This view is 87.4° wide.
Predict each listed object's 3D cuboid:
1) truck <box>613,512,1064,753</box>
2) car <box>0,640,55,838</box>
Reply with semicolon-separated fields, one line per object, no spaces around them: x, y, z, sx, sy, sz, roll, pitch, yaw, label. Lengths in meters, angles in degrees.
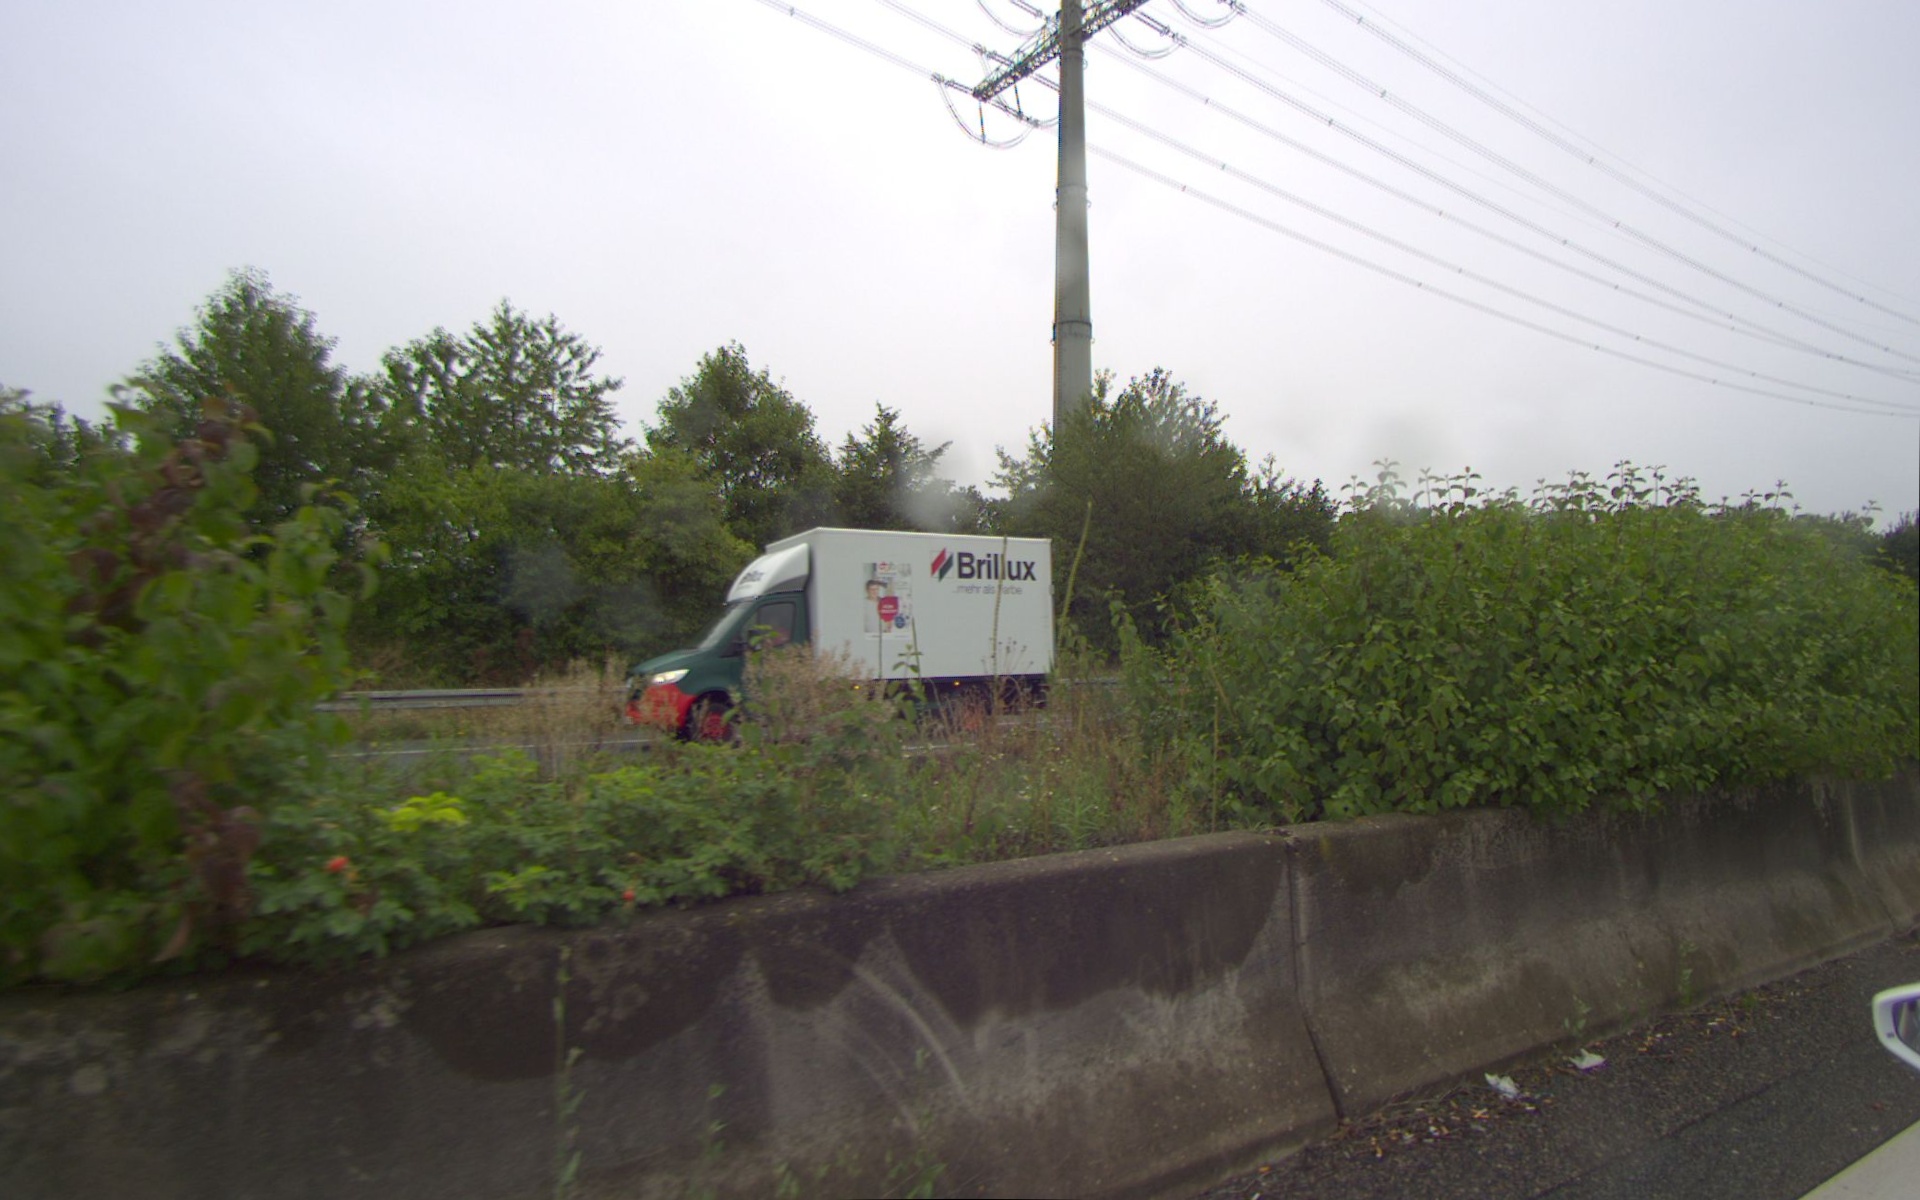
-1.807;0.596;16.368;6.969;3.269;2.251;2;-4;-30;truck
-9.346;1.031;7.057;4.112;1.475;1.709;2;0;-30;car
